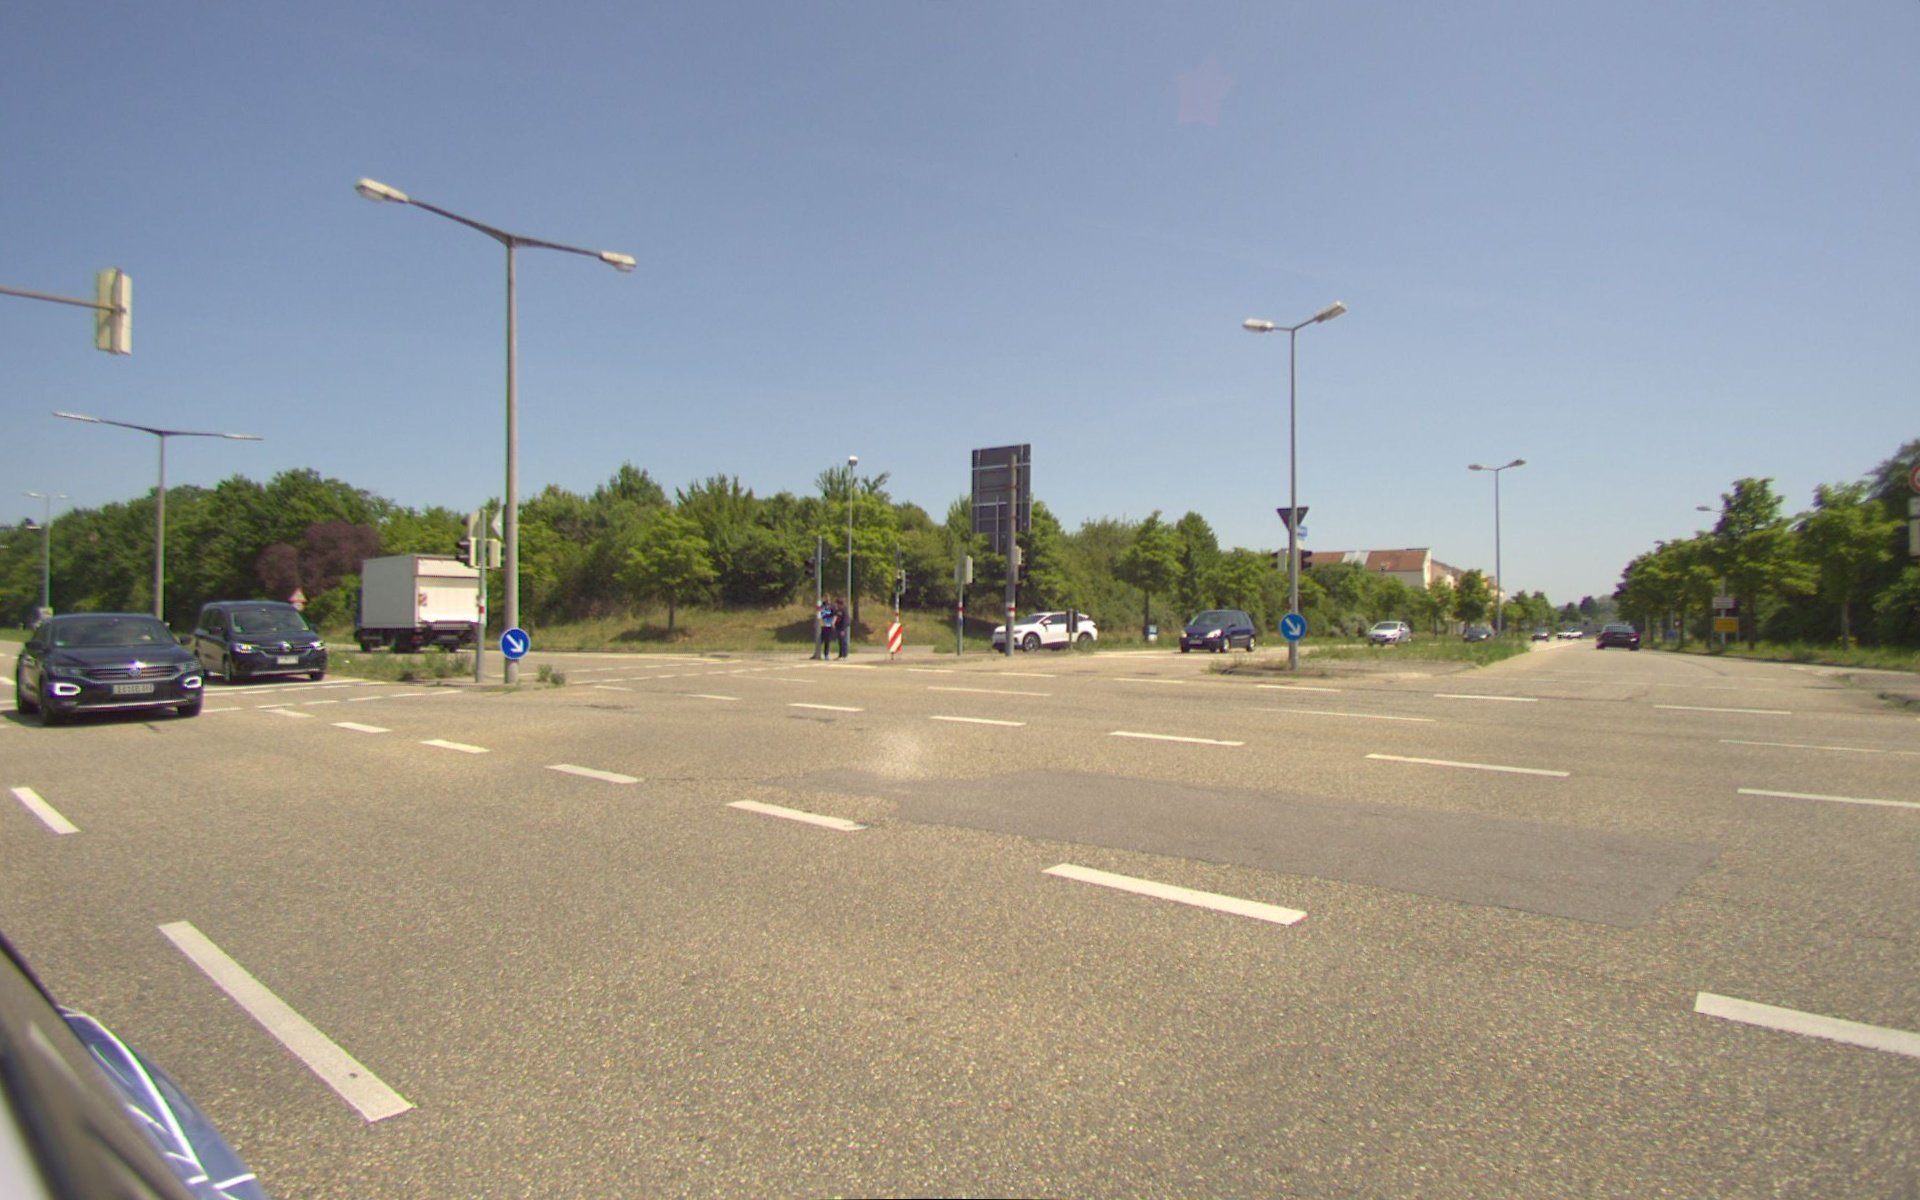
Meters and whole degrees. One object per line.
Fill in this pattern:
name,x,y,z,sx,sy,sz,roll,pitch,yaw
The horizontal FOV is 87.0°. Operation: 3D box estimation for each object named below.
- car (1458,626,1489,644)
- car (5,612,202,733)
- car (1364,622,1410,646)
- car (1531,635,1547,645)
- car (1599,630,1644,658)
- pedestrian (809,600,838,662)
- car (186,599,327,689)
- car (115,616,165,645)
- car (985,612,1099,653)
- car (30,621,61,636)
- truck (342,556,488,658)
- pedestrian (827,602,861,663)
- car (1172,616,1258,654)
car,41.009,2.801,80.740,1.630,1.371,3.952,-1,-2,35
car,-12.833,0.975,15.081,3.970,1.523,1.716,-1,0,42
car,24.940,1.950,59.027,1.630,1.371,3.951,-1,-2,36
car,71.709,4.946,125.357,1.290,1.133,3.169,0,1,38
car,35.678,2.352,54.638,1.734,1.431,3.960,-1,-2,29
pedestrian,-3.967,0.897,29.379,0.573,1.749,0.795,0,-1,-29
car,-15.962,0.940,22.882,4.320,1.840,1.712,-1,-1,42
car,-48.781,1.811,60.151,4.222,1.676,1.688,-1,-2,42
car,3.232,1.318,39.702,4.238,1.513,1.883,2,-5,-36
car,-92.661,2.891,102.525,4.165,1.467,1.804,-1,-1,40
truck,-21.214,0.316,39.198,7.264,3.597,2.659,-1,-1,42
pedestrian,-3.278,0.909,28.637,0.712,1.712,0.777,0,-1,-30
car,9.618,1.308,37.982,1.700,1.346,3.949,-1,-2,37
